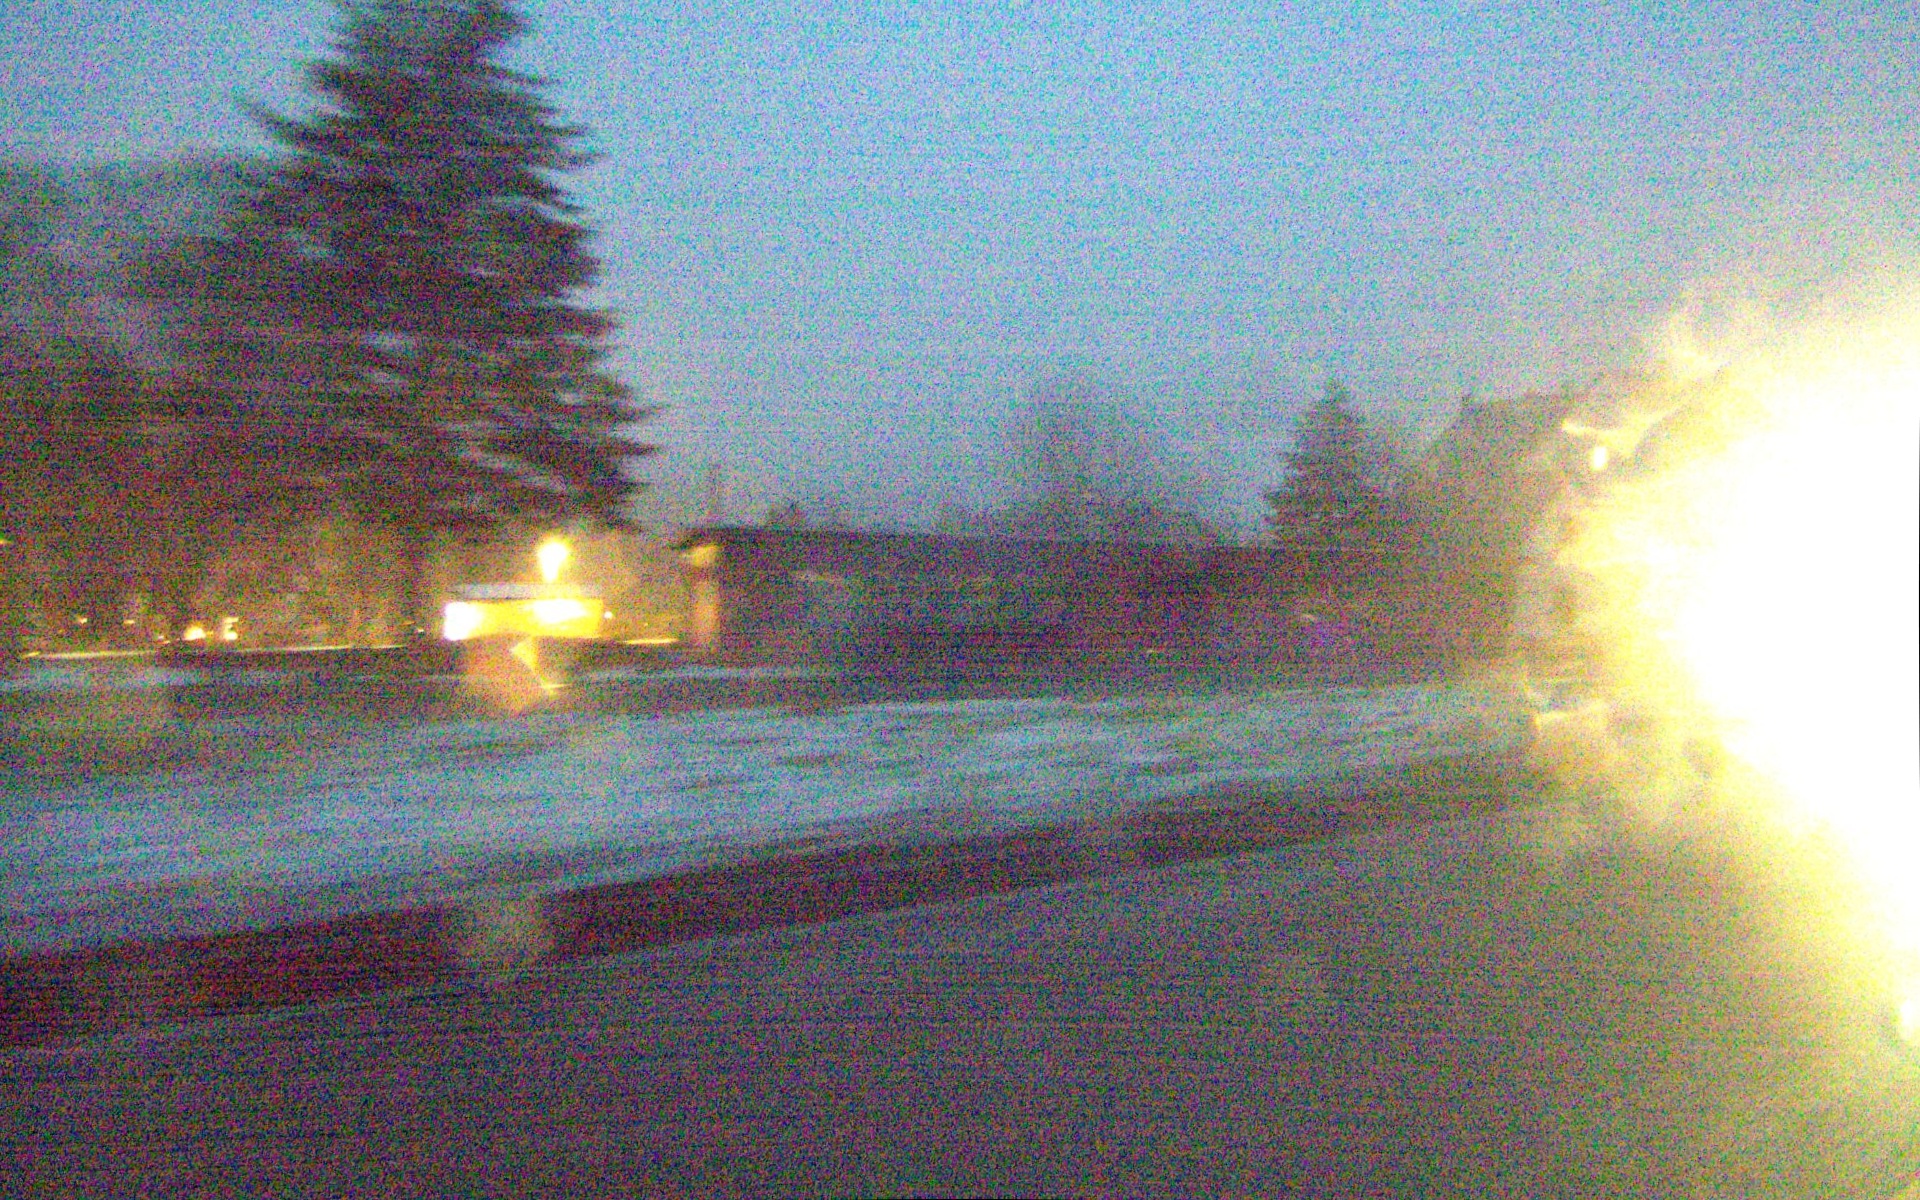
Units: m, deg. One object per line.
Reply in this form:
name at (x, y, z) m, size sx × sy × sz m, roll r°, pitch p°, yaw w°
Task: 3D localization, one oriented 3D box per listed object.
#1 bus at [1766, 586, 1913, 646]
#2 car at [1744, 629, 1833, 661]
bus at (62.947, 1.024, 72.460) m, size 2.844 × 3.920 × 13.061 m, roll 1°, pitch 0°, yaw 17°
car at (39.254, 2.122, 47.580) m, size 4.095 × 1.416 × 1.683 m, roll 0°, pitch -2°, yaw -26°
